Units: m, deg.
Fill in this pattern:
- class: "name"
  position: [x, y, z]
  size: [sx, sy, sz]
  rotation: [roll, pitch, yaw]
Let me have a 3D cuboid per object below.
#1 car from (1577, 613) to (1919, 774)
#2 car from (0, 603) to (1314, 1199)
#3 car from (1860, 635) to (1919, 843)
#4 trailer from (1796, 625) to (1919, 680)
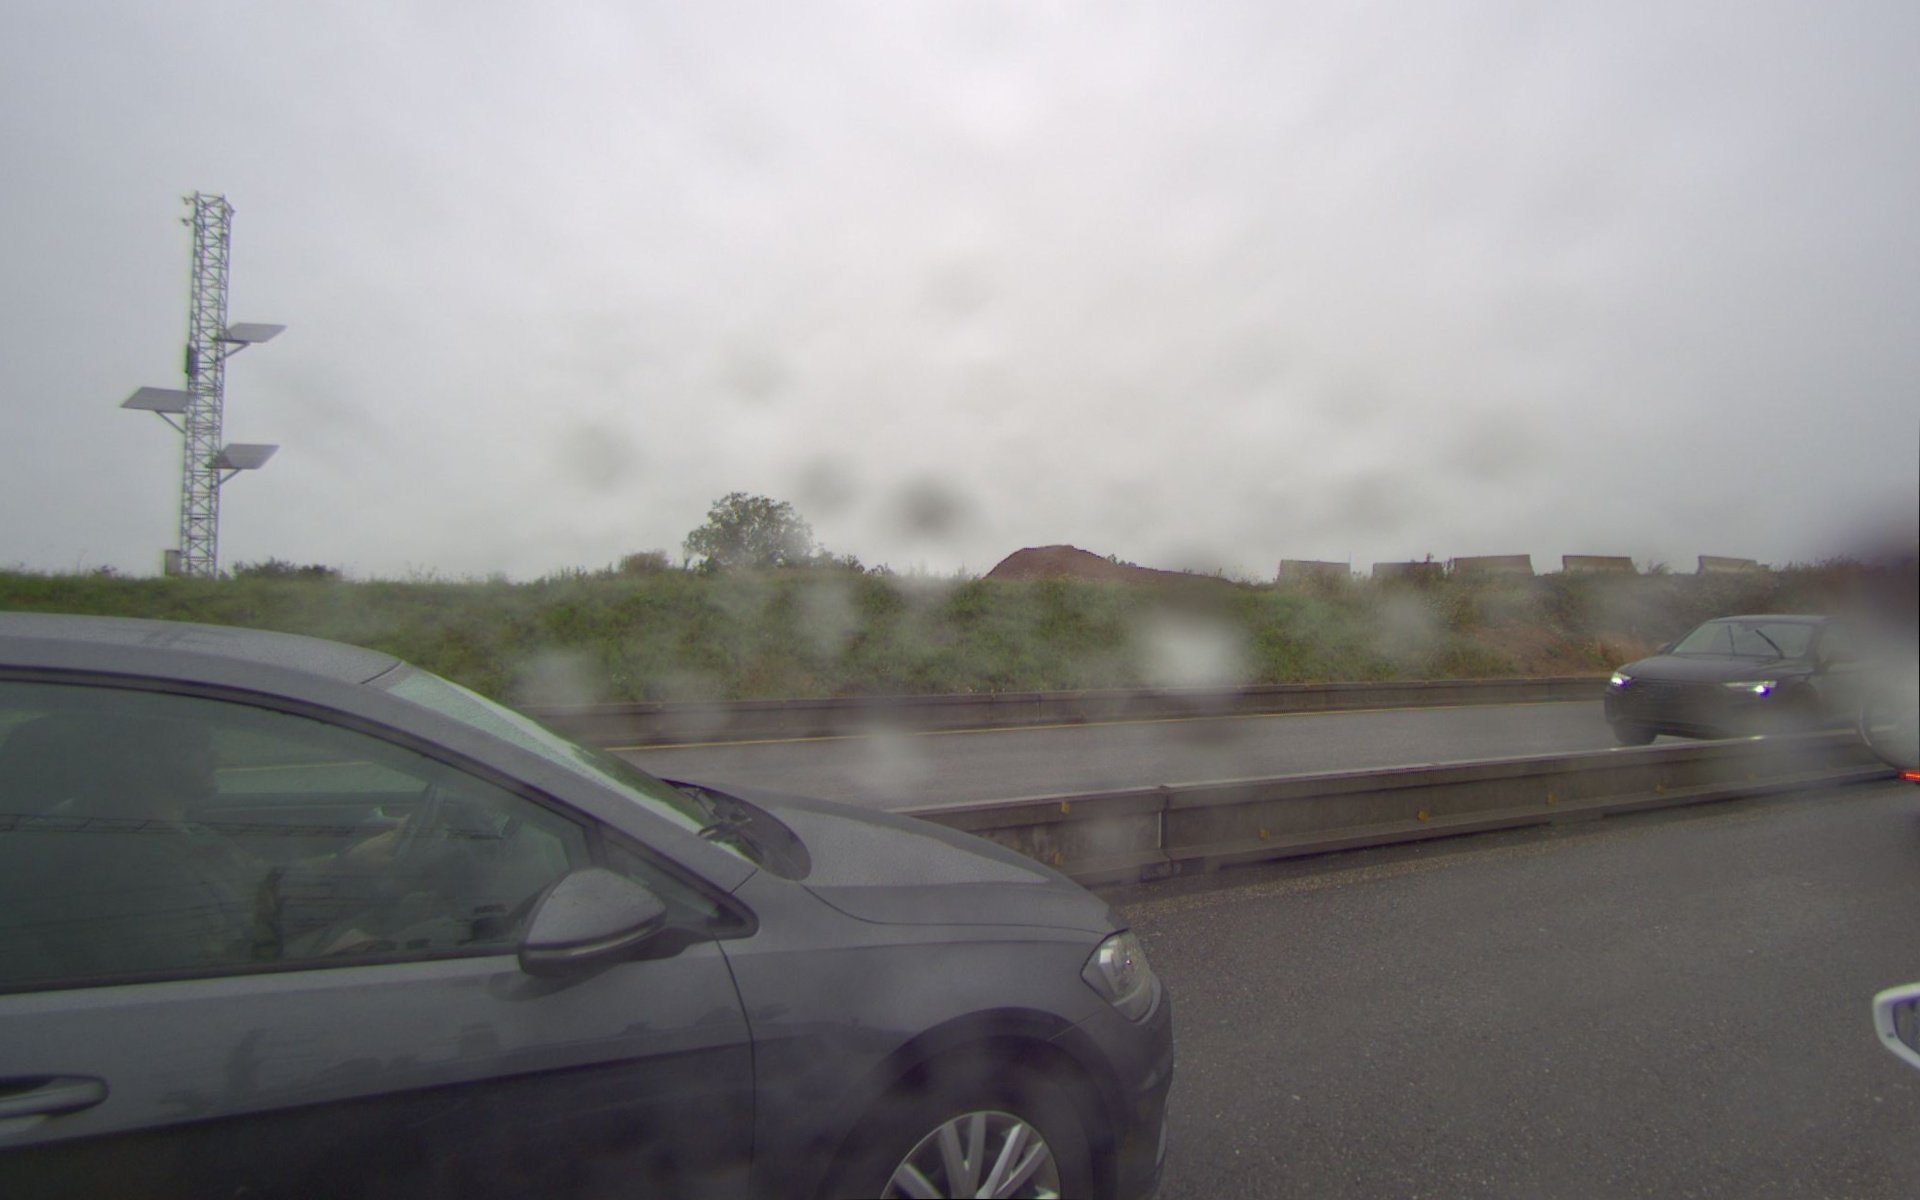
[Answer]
- class: "car"
  position: [9.830, 1.027, 12.434]
  size: [4.430, 1.661, 1.814]
  rotation: [1, 0, -29]
- class: "car"
  position: [-1.332, 0.746, 2.018]
  size: [4.033, 1.441, 1.642]
  rotation: [2, -1, -30]
- class: "car"
  position: [9.670, 1.018, 8.230]
  size: [5.560, 1.482, 1.727]
  rotation: [0, 0, -29]
- class: "trailer"
  position: [20.734, 1.150, 22.384]
  size: [4.653, 1.103, 1.574]
  rotation: [1, -1, -28]
